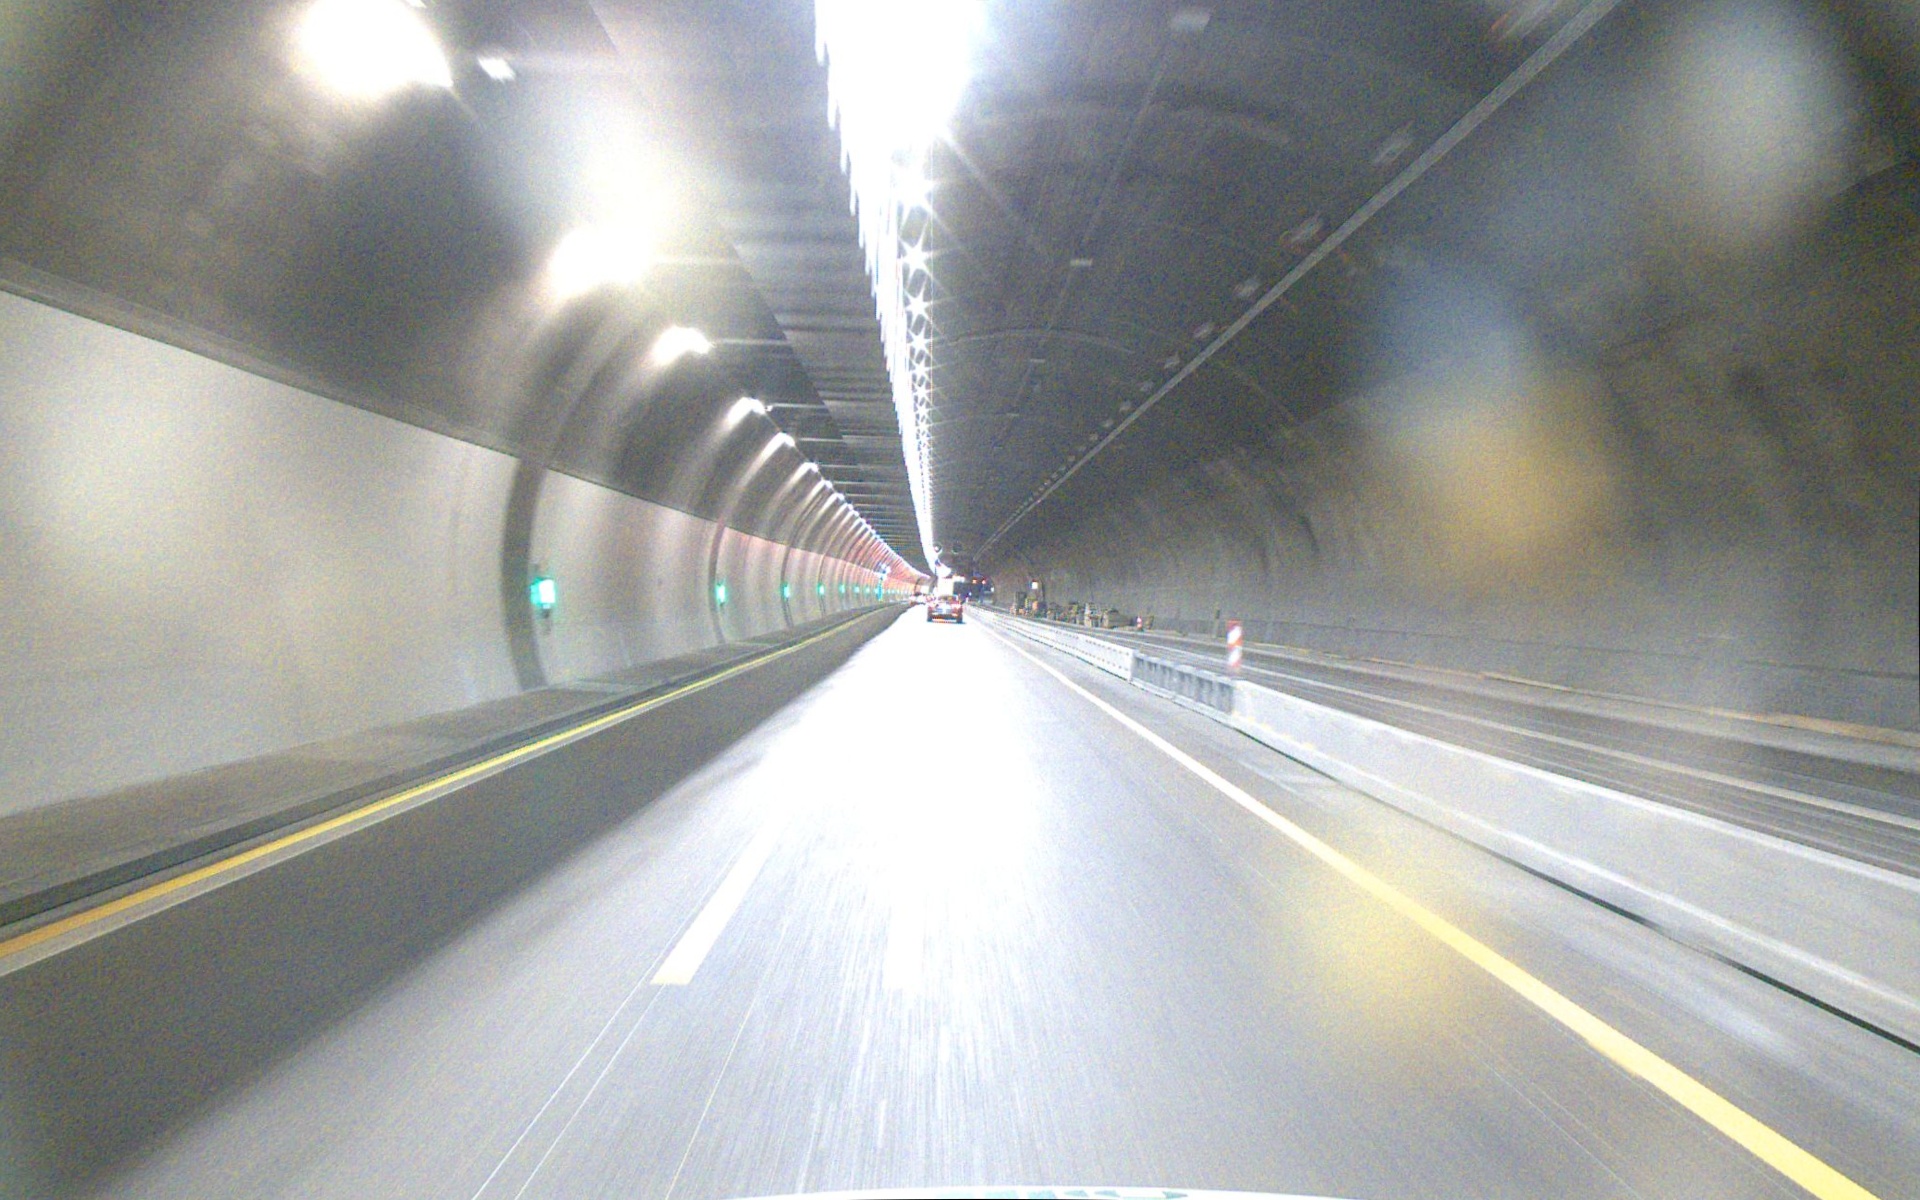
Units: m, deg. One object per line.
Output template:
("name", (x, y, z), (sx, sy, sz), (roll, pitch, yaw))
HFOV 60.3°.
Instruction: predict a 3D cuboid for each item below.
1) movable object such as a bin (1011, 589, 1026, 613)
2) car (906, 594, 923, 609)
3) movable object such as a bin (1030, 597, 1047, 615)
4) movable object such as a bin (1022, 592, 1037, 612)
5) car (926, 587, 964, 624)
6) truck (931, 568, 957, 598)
("movable object such as a bin", (5.566, 0.100, 157.836), (1.210, 2.178, 2.216), (2, 0, -1))
("car", (-5.366, 0.178, 196.258), (1.891, 1.716, 4.000), (0, 0, 0))
("movable object such as a bin", (6.636, 0.519, 139.905), (1.210, 1.467, 2.216), (2, 0, -1))
("movable object such as a bin", (6.360, 0.197, 151.221), (1.210, 1.748, 2.216), (2, 0, -1))
("car", (-0.817, 0.266, 86.190), (1.907, 1.826, 3.999), (0, 0, -2))
("truck", (-2.573, -2.734, 267.289), (3.983, 4.612, 14.962), (1, 0, -1))
